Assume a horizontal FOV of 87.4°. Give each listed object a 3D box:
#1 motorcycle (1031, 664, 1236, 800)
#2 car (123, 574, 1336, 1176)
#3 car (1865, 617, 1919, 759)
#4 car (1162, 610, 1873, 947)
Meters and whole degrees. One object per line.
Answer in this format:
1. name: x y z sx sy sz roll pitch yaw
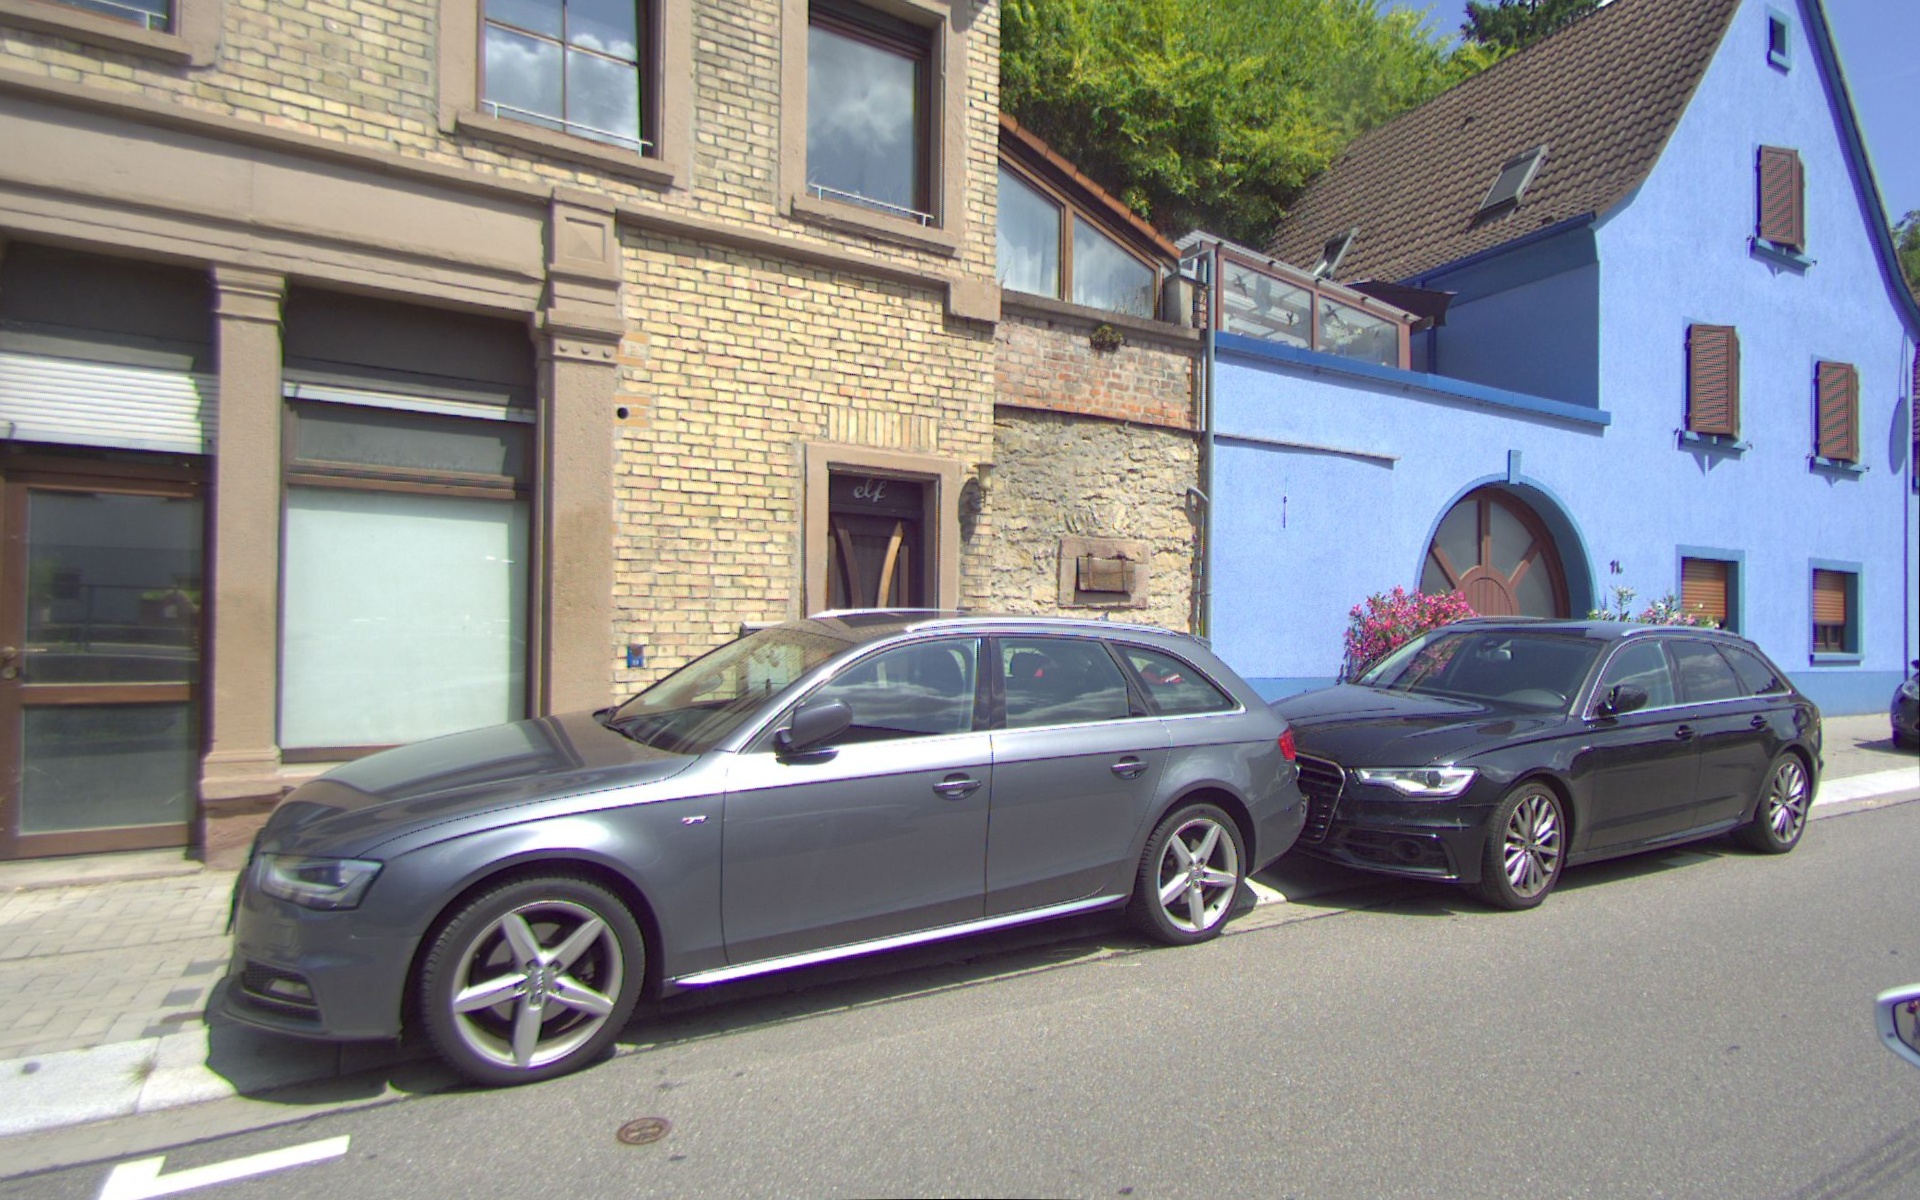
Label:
1. motorcycle: 1.492 1.066 8.460 1.837 1.014 0.415 2 2 -32
2. car: -0.615 0.772 4.500 4.494 1.485 1.947 2 -2 -31
3. car: 12.482 1.043 11.749 3.811 1.550 1.708 1 2 -31
4. car: 3.743 0.859 6.573 4.610 1.484 1.877 1 2 -29
